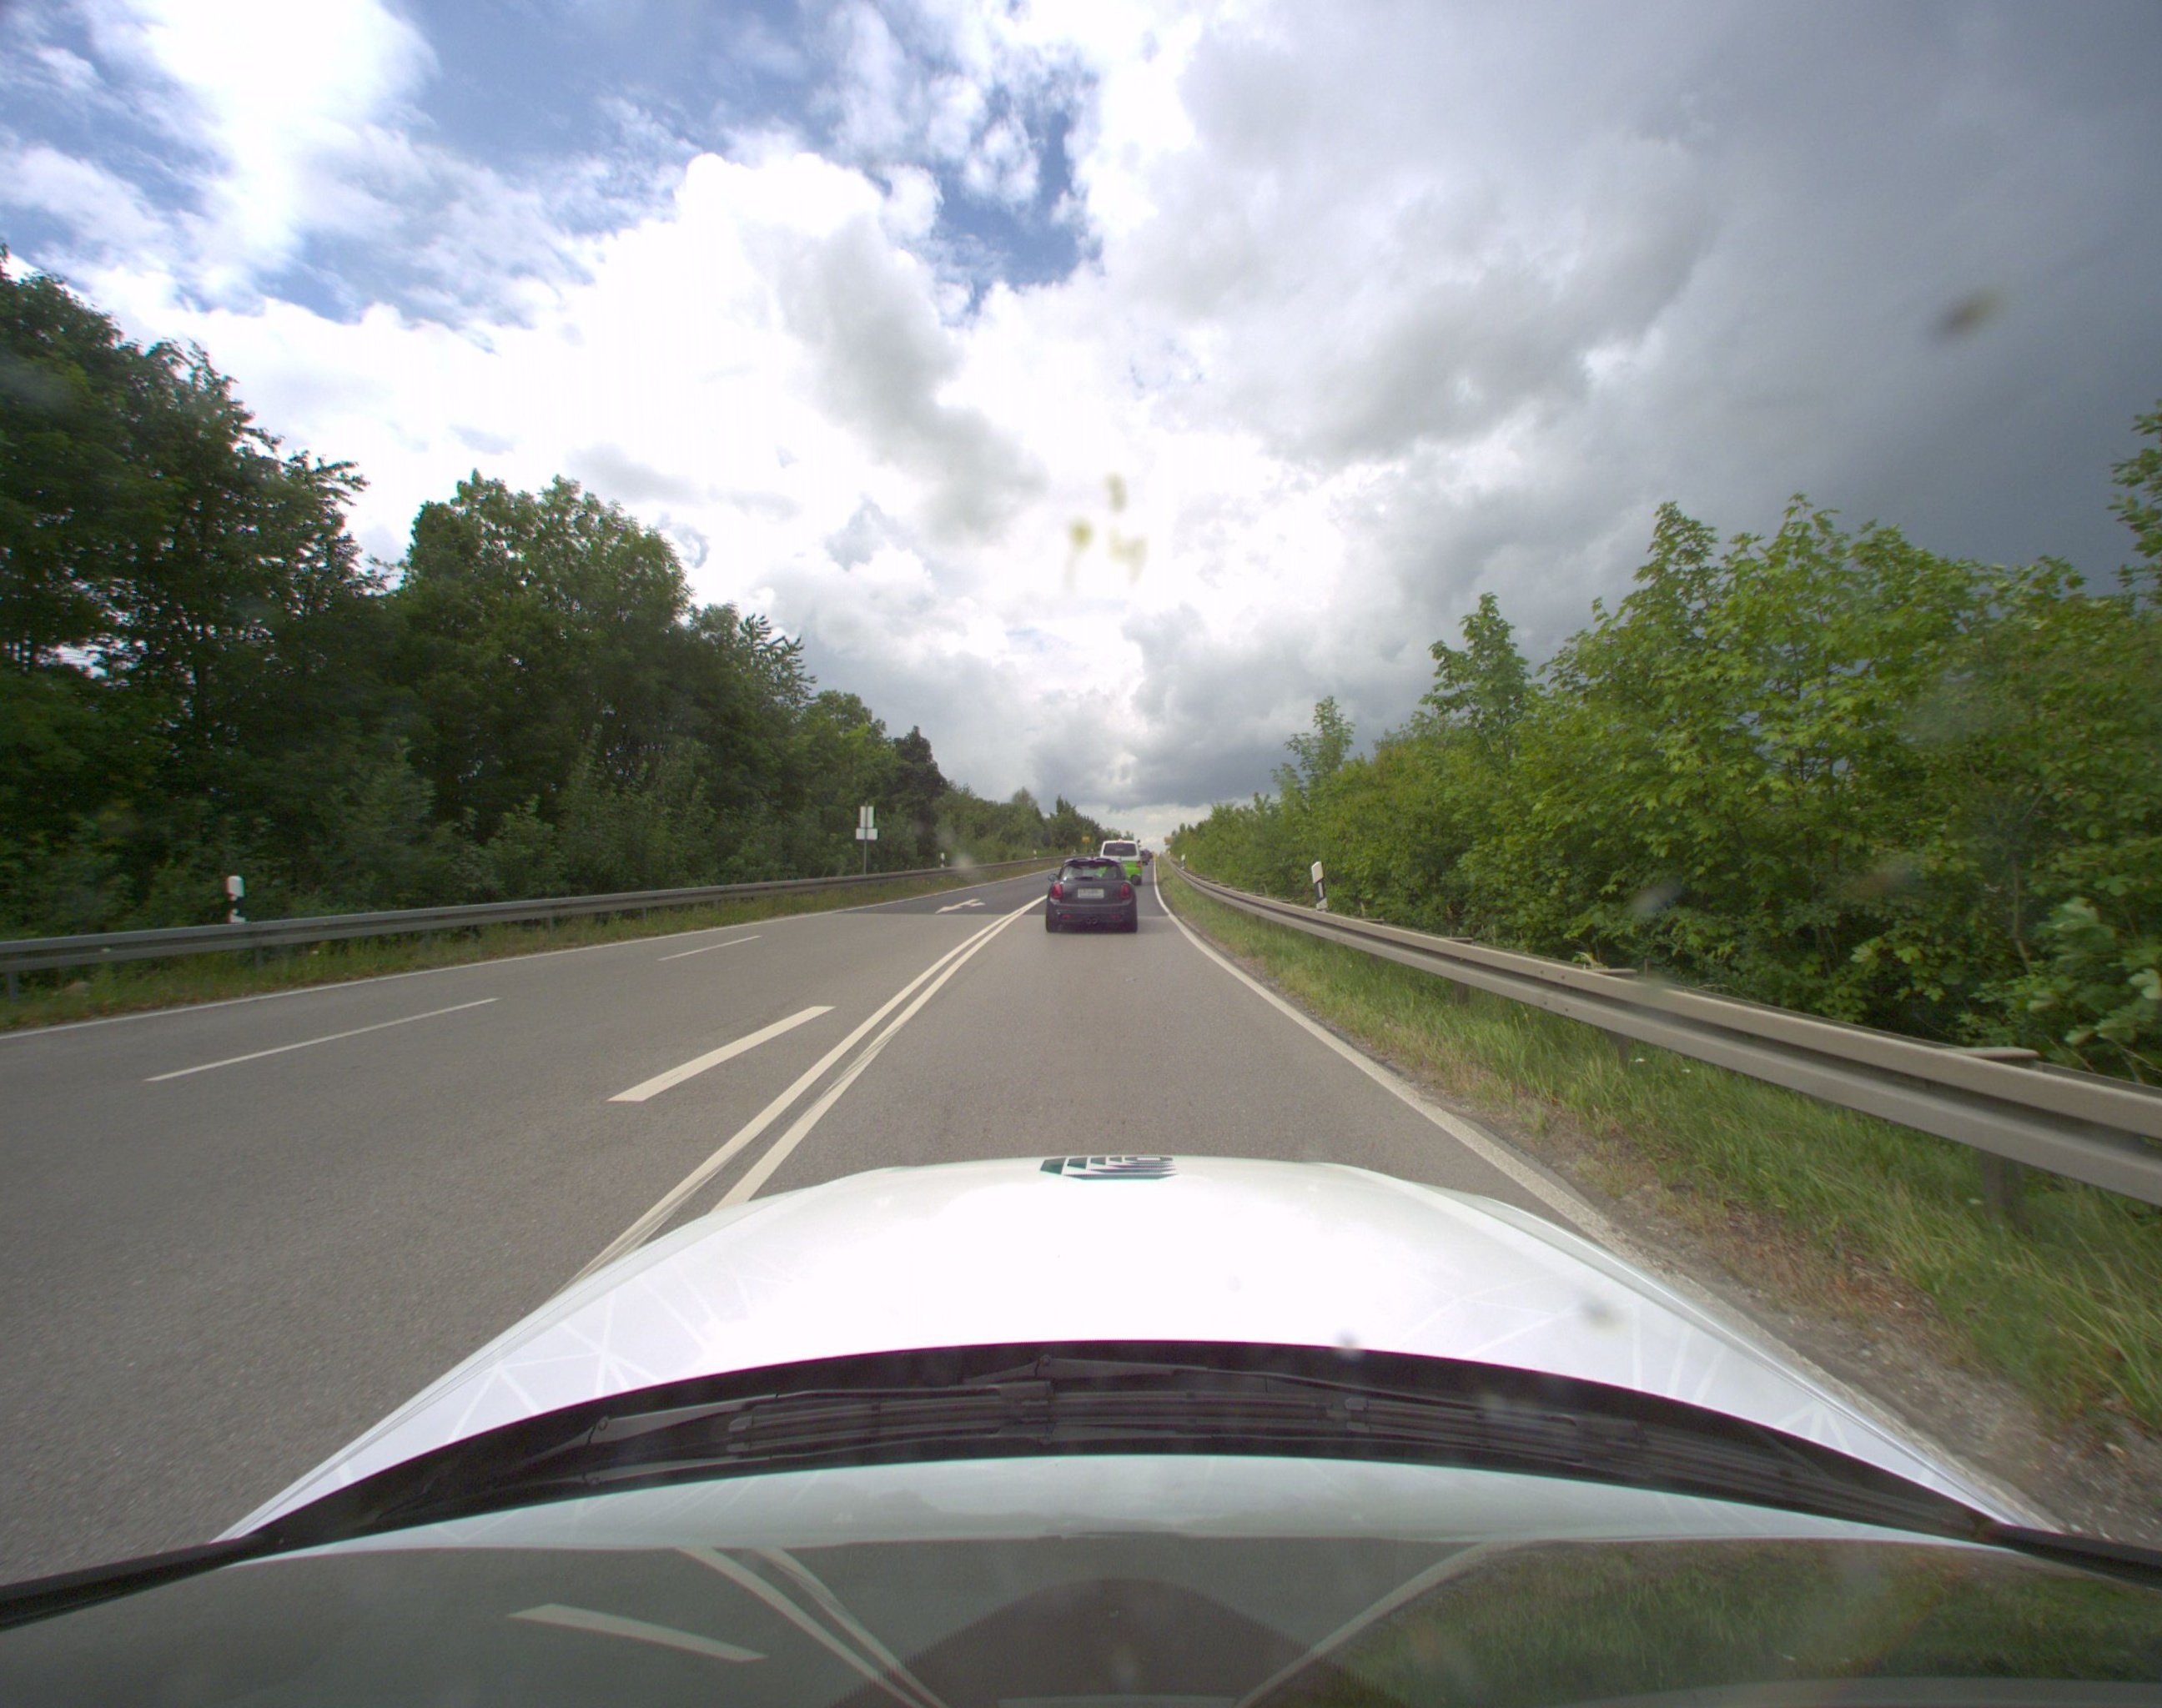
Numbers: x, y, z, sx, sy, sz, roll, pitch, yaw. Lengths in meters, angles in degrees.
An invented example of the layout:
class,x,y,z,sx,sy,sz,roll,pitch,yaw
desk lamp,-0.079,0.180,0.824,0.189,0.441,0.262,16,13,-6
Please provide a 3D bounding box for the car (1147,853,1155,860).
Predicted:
class,x,y,z,sx,sy,sz,roll,pitch,yaw
car,15.488,0.562,180.205,1.685,1.319,4.008,-2,0,7

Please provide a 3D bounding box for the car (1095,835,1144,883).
class,x,y,z,sx,sy,sz,roll,pitch,yaw
car,1.795,0.184,36.710,2.013,2.013,4.006,1,1,5

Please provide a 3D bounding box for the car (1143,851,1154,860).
class,x,y,z,sx,sy,sz,roll,pitch,yaw
car,11.170,0.271,134.666,1.685,1.319,4.008,-2,0,7

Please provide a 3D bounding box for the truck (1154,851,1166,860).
class,x,y,z,sx,sy,sz,roll,pitch,yaw
truck,21.526,0.437,221.725,2.895,2.372,10.471,-2,0,6

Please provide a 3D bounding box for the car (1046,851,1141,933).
class,x,y,z,sx,sy,sz,roll,pitch,yaw
car,0.216,0.692,16.909,1.726,1.455,3.999,-1,1,0

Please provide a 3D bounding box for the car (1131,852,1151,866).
class,x,y,z,sx,sy,sz,roll,pitch,yaw
car,5.657,0.488,76.425,1.685,1.222,4.008,-2,0,7
